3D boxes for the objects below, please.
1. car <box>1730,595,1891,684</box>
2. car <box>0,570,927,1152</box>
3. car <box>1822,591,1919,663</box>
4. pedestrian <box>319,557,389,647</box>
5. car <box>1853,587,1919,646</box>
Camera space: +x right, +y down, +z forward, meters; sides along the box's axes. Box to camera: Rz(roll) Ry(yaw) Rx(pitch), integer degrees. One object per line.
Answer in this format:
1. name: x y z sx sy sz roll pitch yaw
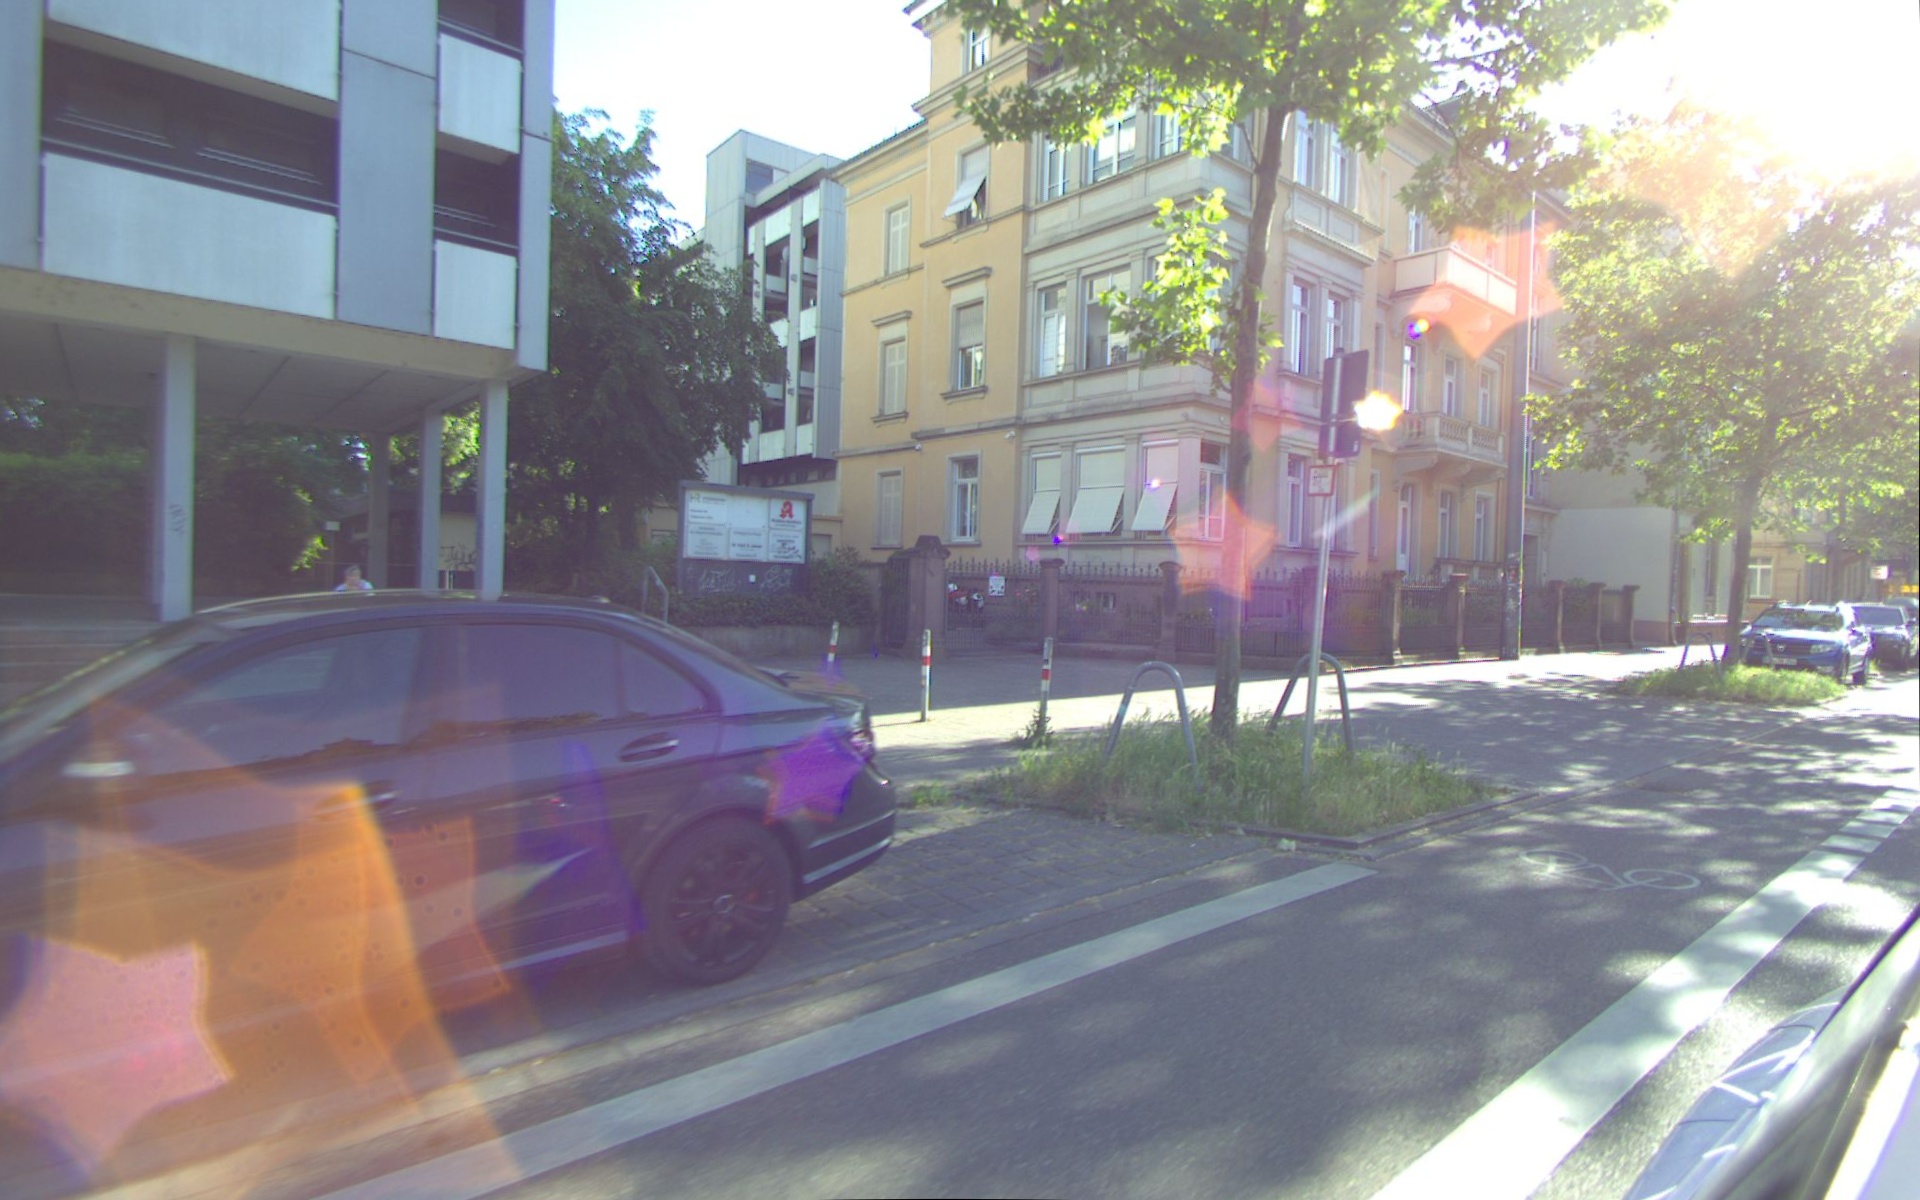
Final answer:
1. car: 17.195 0.727 20.397 4.198 1.584 1.838 1 1 -41
2. car: -2.318 0.627 3.663 4.201 1.399 1.780 1 1 -41
3. car: 23.985 0.654 26.269 4.198 1.697 1.838 1 1 -41
4. pedestrian: -7.847 0.022 13.105 0.672 1.123 0.560 1 2 -40
5. car: 29.411 0.499 31.483 4.198 1.696 1.838 1 2 -41
